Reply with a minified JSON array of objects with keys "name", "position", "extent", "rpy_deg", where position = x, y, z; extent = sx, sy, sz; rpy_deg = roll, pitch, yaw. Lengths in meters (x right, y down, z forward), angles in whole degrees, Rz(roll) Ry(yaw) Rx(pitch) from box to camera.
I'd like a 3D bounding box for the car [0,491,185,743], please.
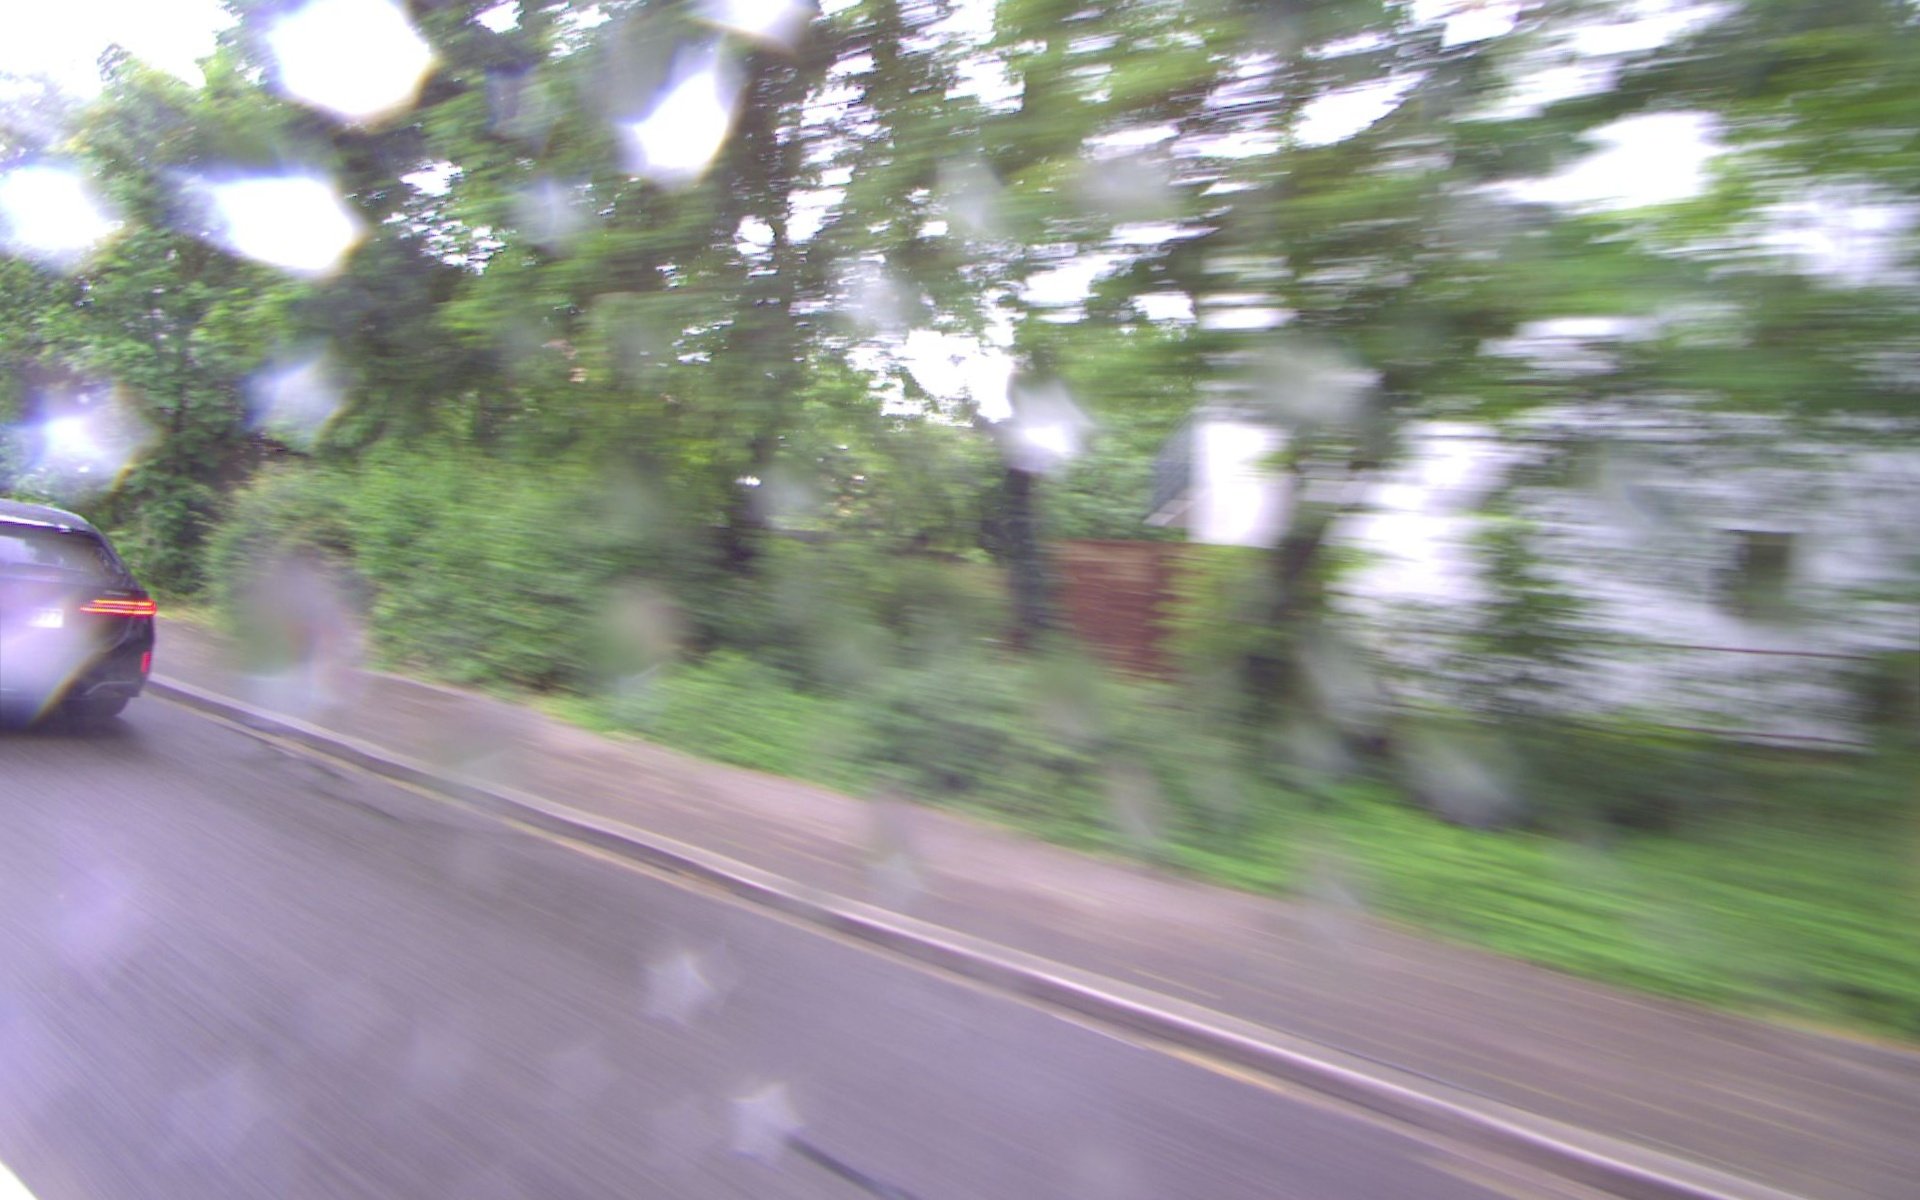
[{"name":"car","position":[-7.488,-0.061,7.125],"extent":[3.610,1.554,1.769],"rpy_deg":[6,-3,30]}]
